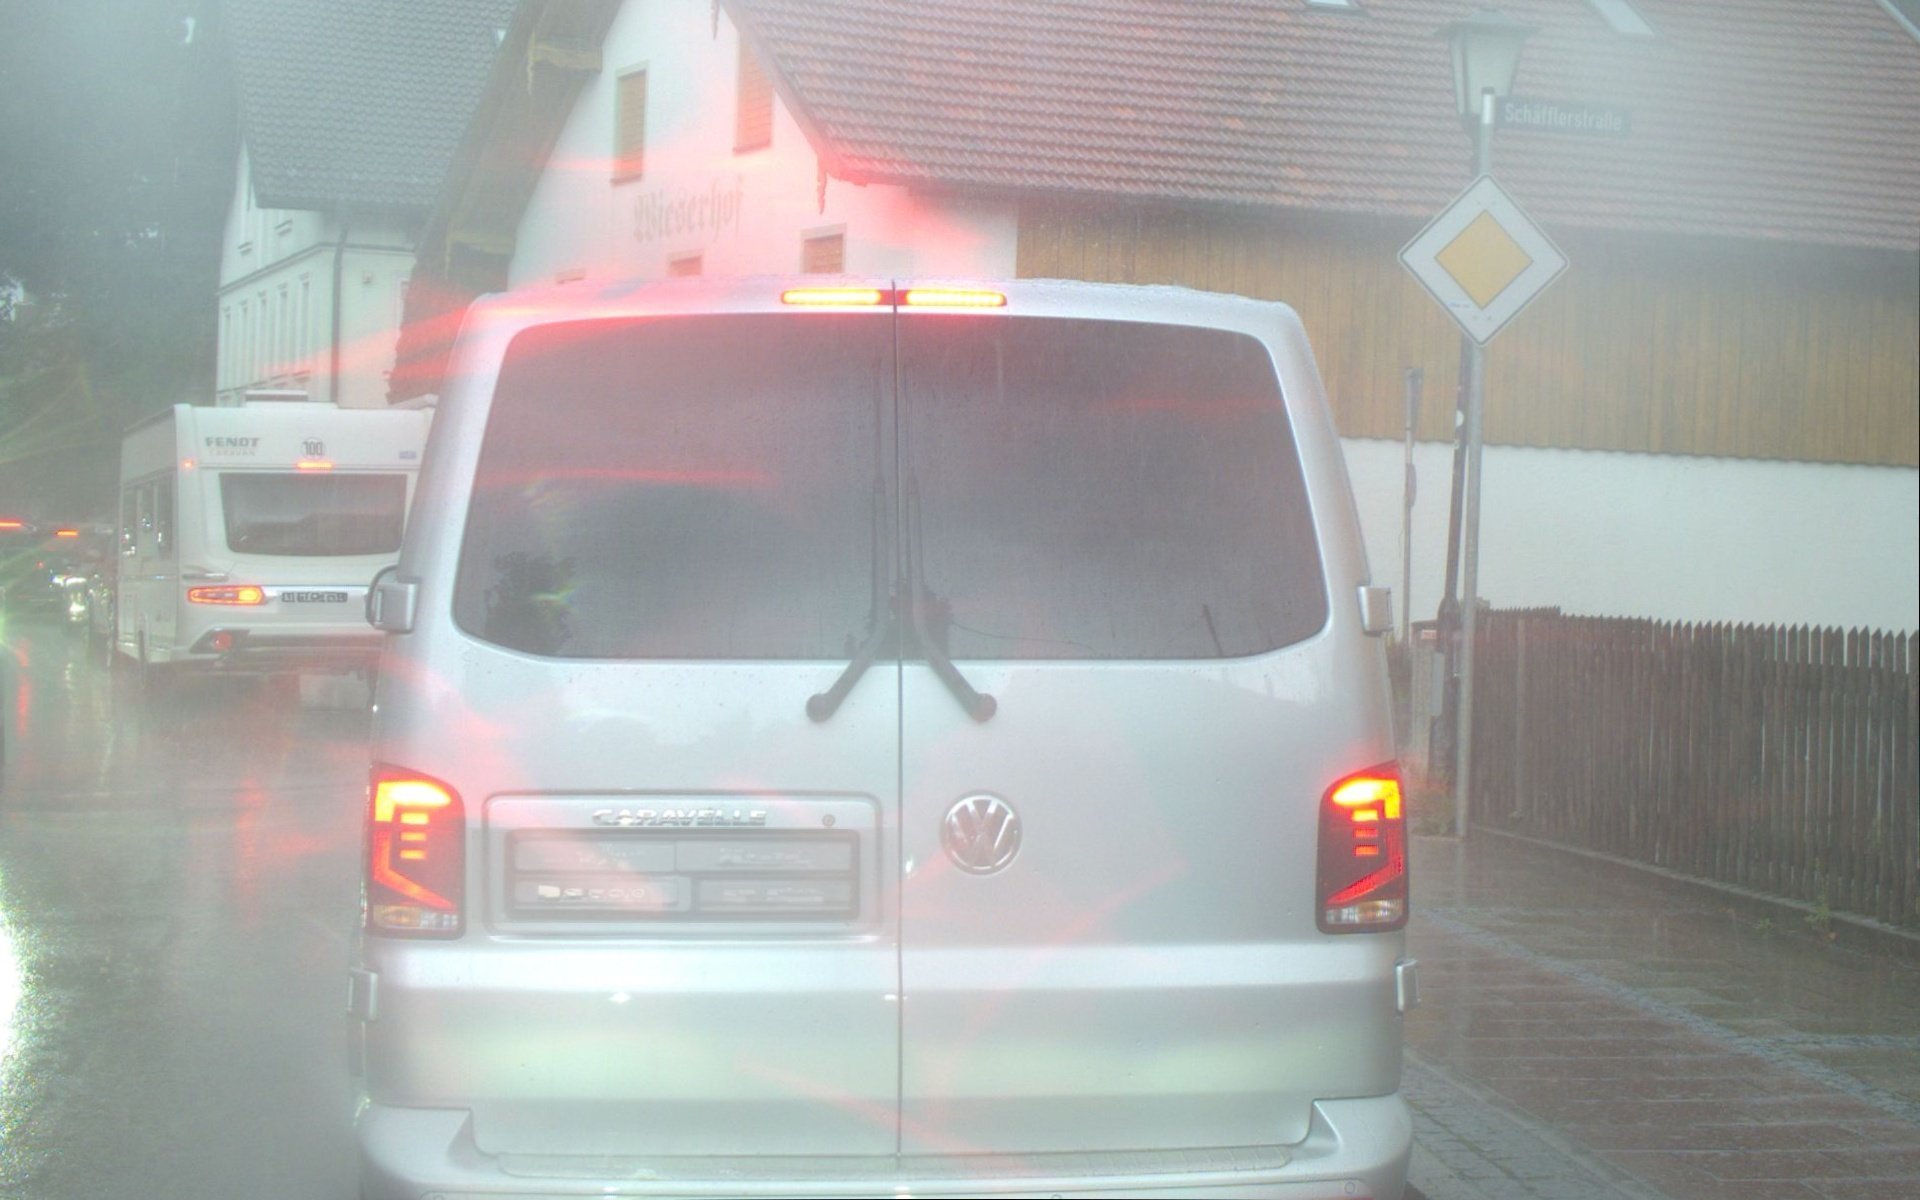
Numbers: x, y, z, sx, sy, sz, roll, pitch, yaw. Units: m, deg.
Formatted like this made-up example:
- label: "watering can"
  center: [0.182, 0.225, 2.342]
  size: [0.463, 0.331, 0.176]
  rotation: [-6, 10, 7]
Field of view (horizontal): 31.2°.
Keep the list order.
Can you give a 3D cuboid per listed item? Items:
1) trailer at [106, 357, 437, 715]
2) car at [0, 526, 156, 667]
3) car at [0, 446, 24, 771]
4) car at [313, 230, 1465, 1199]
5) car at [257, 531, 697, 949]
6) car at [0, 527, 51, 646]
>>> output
- label: "trailer"
  center: [-6.344, -0.565, 31.056]
  size: [2.270, 2.894, 6.134]
  rotation: [1, 1, -17]
- label: "car"
  center: [-13.612, -0.106, 51.897]
  size: [2.168, 1.892, 5.016]
  rotation: [2, 1, -21]
- label: "car"
  center: [-7.236, 0.037, 22.819]
  size: [1.850, 1.965, 4.703]
  rotation: [0, 0, -14]
- label: "car"
  center: [-0.163, 0.378, 7.864]
  size: [1.776, 1.956, 5.074]
  rotation: [0, 1, -1]
- label: "car"
  center: [-2.296, 0.502, 15.991]
  size: [1.708, 1.578, 4.687]
  rotation: [-1, 2, -9]
- label: "car"
  center: [-17.251, -0.305, 59.929]
  size: [2.168, 1.892, 5.016]
  rotation: [2, 1, -21]
